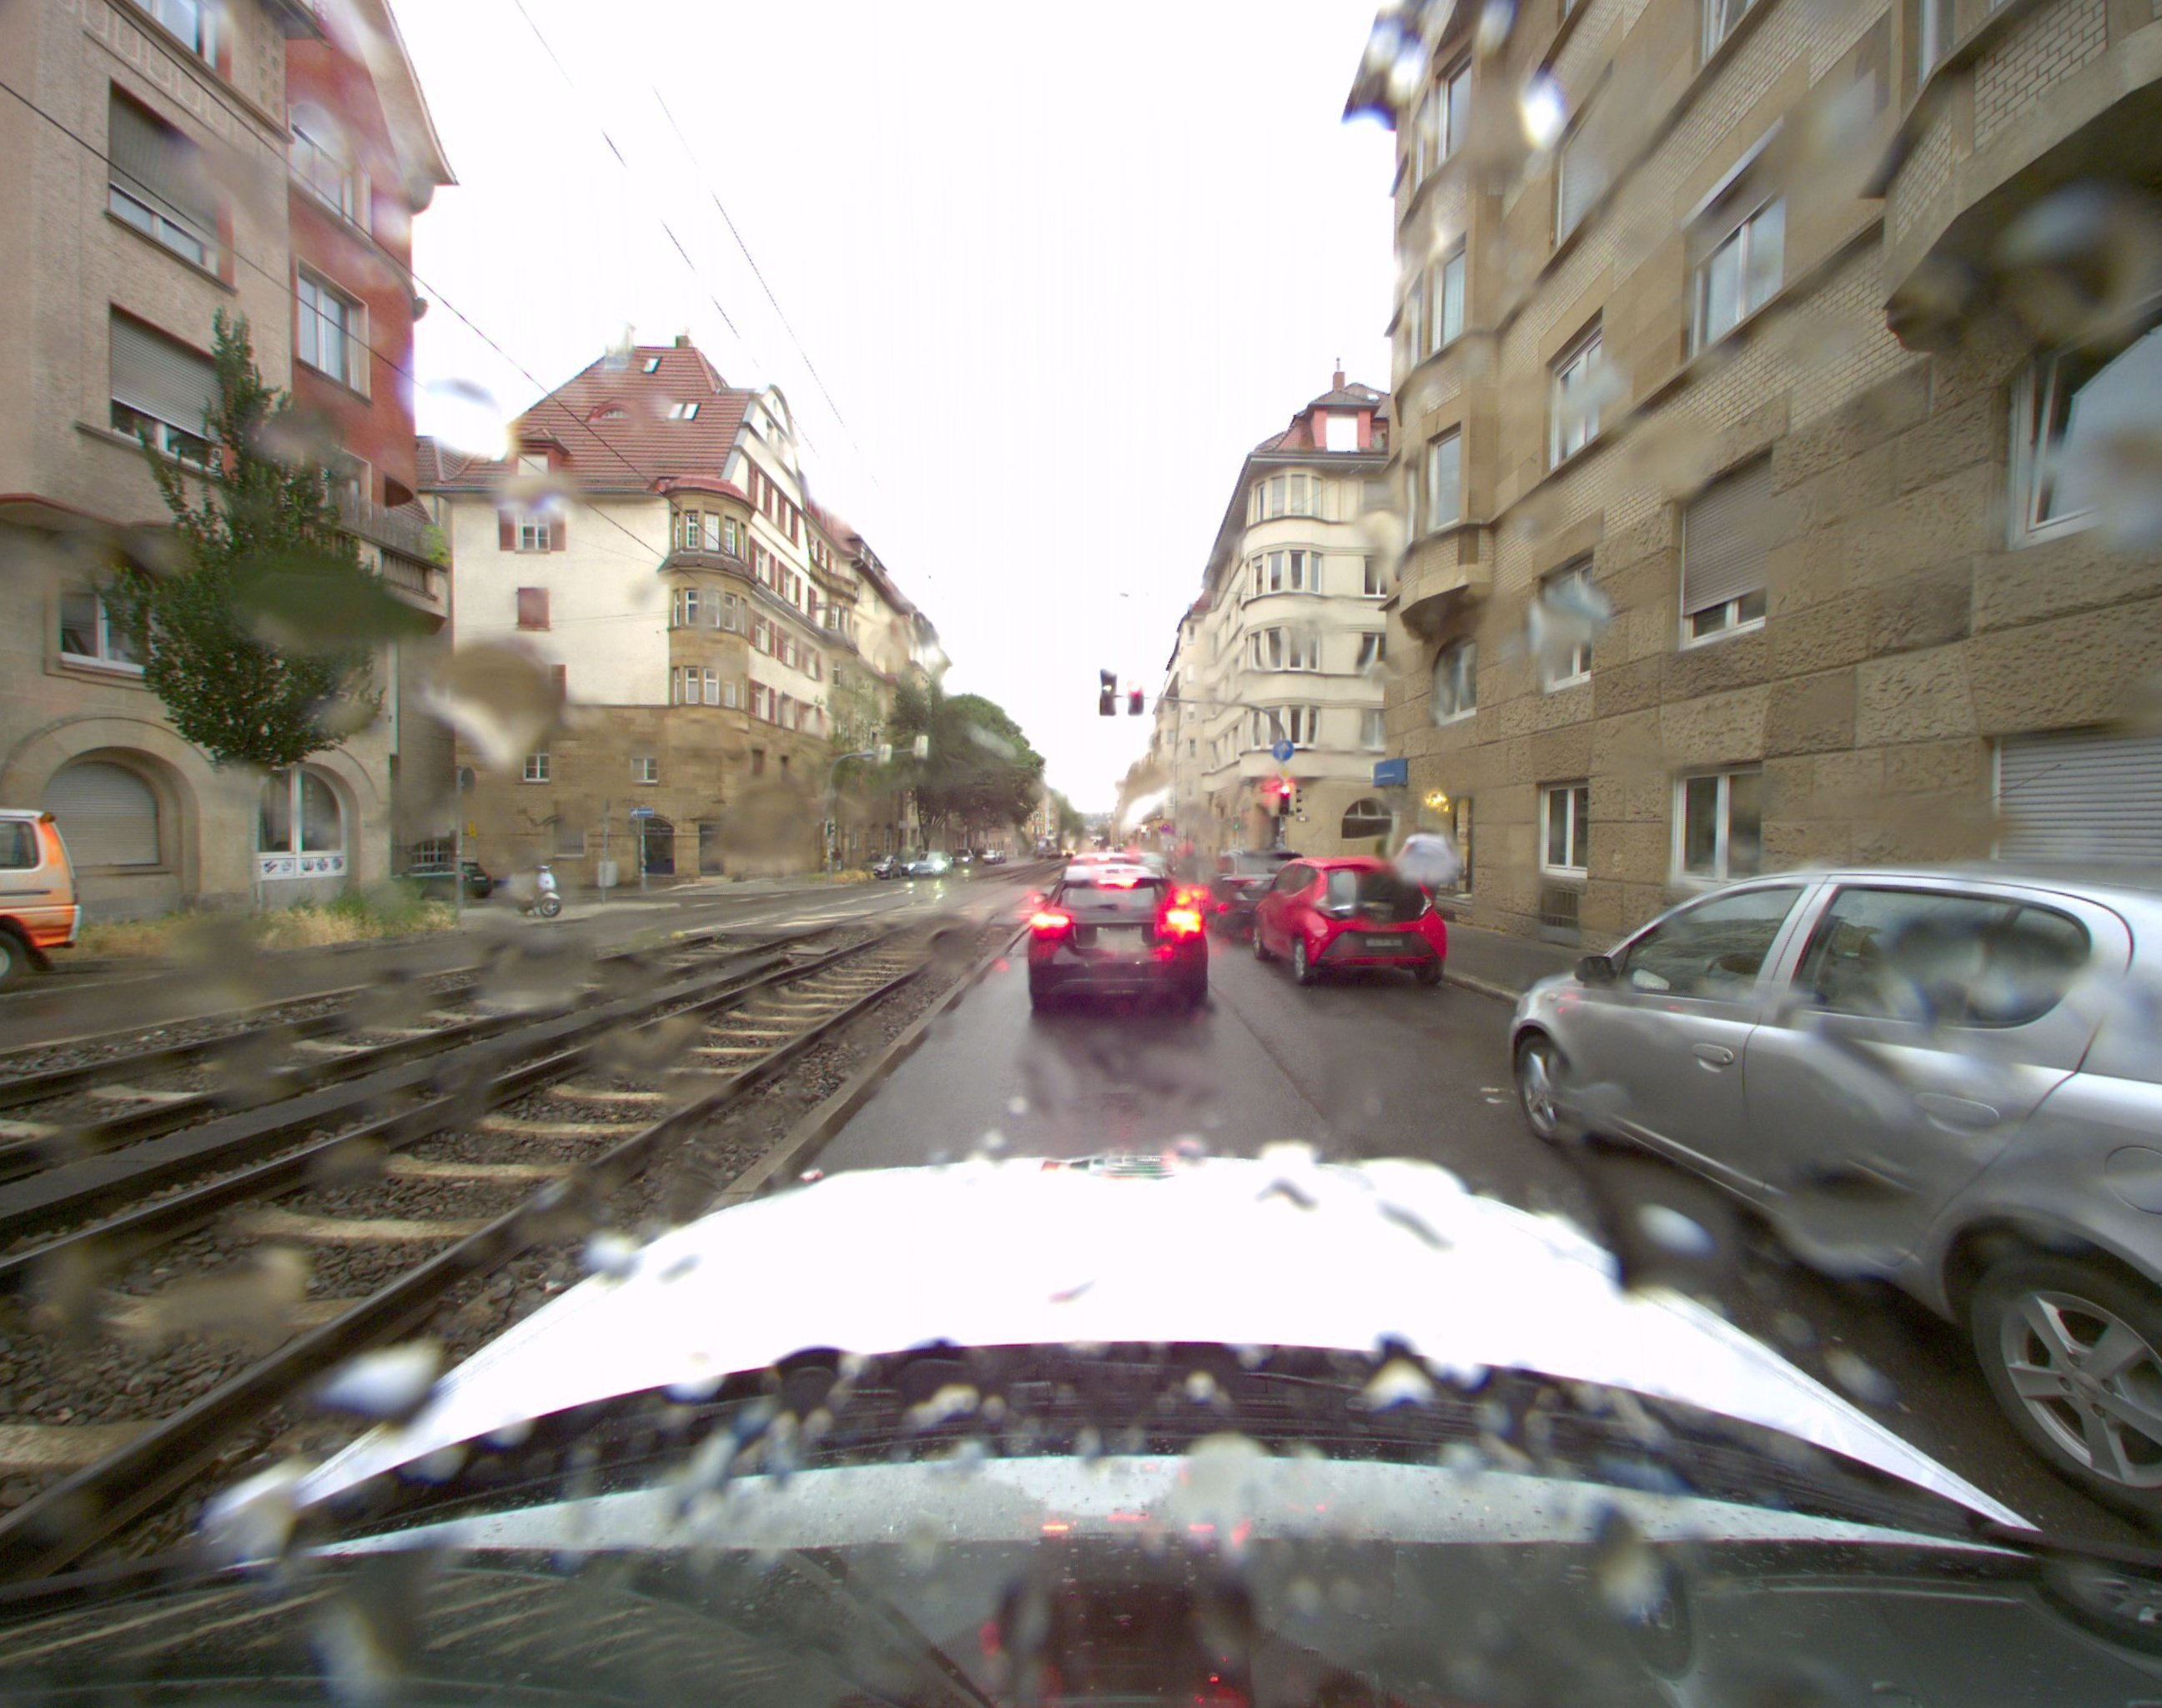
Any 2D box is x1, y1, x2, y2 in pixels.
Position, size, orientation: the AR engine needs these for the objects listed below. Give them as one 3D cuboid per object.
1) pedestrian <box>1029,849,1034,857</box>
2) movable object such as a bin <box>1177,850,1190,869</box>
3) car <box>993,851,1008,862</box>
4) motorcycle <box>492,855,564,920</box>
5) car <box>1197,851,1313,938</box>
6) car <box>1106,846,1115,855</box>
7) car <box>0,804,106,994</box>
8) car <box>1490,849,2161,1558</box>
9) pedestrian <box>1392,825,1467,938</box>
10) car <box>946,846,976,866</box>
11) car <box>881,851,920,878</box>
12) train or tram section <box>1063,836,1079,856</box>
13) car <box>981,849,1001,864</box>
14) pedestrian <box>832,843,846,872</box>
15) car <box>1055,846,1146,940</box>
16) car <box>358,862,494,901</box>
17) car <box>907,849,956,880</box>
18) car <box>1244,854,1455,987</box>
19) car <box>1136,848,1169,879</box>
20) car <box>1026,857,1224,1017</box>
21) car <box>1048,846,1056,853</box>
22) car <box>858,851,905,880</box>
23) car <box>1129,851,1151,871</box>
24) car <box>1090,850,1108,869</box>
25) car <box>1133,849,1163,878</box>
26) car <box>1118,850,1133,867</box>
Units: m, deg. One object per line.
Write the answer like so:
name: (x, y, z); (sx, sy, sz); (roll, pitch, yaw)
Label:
pedestrian: (-11.119, -0.231, 184.277); (1.049, 1.957, 1.043); (1, 0, 3)
movable object such as a bin: (7.475, 0.418, 59.558); (0.873, 1.389, 0.984); (-1, -1, 5)
car: (-9.795, 0.294, 99.015); (1.443, 1.331, 3.271); (0, -1, 0)
motorcycle: (-12.066, 0.709, 17.768); (1.577, 1.365, 0.628); (-1, -1, 28)
car: (3.244, 0.684, 15.811); (1.539, 1.486, 3.831); (0, 0, 2)
car: (6.532, -0.719, 182.503); (1.986, 1.876, 4.001); (0, -1, 2)
car: (-12.122, 0.466, 7.212); (1.725, 1.975, 4.341); (0, -1, 0)
car: (3.147, 0.736, 3.102); (1.608, 1.467, 3.314); (-2, 0, 3)
pedestrian: (5.577, 0.429, 13.108); (0.739, 1.748, 1.111); (0, -1, 2)
car: (-10.595, 0.213, 72.142); (1.868, 1.737, 3.920); (0, -1, 2)
car: (-11.285, 0.644, 51.154); (1.713, 1.611, 3.914); (0, -1, -3)
train or tram section: (-2.024, -1.521, 164.303); (2.772, 3.861, 10.433); (0, -1, 2)
car: (-9.865, 0.306, 89.599); (1.583, 1.581, 3.920); (0, -1, 2)
pedestrian: (-13.940, 0.221, 46.944); (0.630, 1.672, 0.701); (0, -1, -7)
car: (0.393, 0.696, 15.961); (1.559, 1.609, 3.815); (0, -1, 2)
car: (-24.383, 1.010, 30.411); (3.633, 1.404, 1.699); (0, -1, -3)
car: (-8.269, 0.579, 45.433); (1.891, 1.588, 3.974); (0, -1, 2)
car: (3.278, 0.730, 10.567); (1.637, 1.448, 3.298); (0, 0, -1)
car: (3.702, 0.478, 42.703); (1.539, 1.590, 3.549); (0, 0, 2)
car: (0.467, 0.777, 9.565); (1.822, 1.458, 4.105); (0, 0, 2)
car: (-5.422, -0.873, 153.907); (1.372, 1.249, 3.297); (0, -1, 0)
car: (-11.254, 0.638, 46.119); (1.747, 1.552, 4.033); (0, -1, -2)
car: (4.417, 0.525, 61.585); (1.539, 1.486, 3.549); (0, 0, 2)
car: (1.603, 0.465, 70.943); (1.539, 1.636, 3.687); (0, 0, 1)
car: (3.844, 0.522, 47.177); (1.539, 1.590, 3.549); (0, 0, 2)
car: (4.028, 0.400, 73.675); (1.289, 1.442, 2.930); (0, 0, 2)
